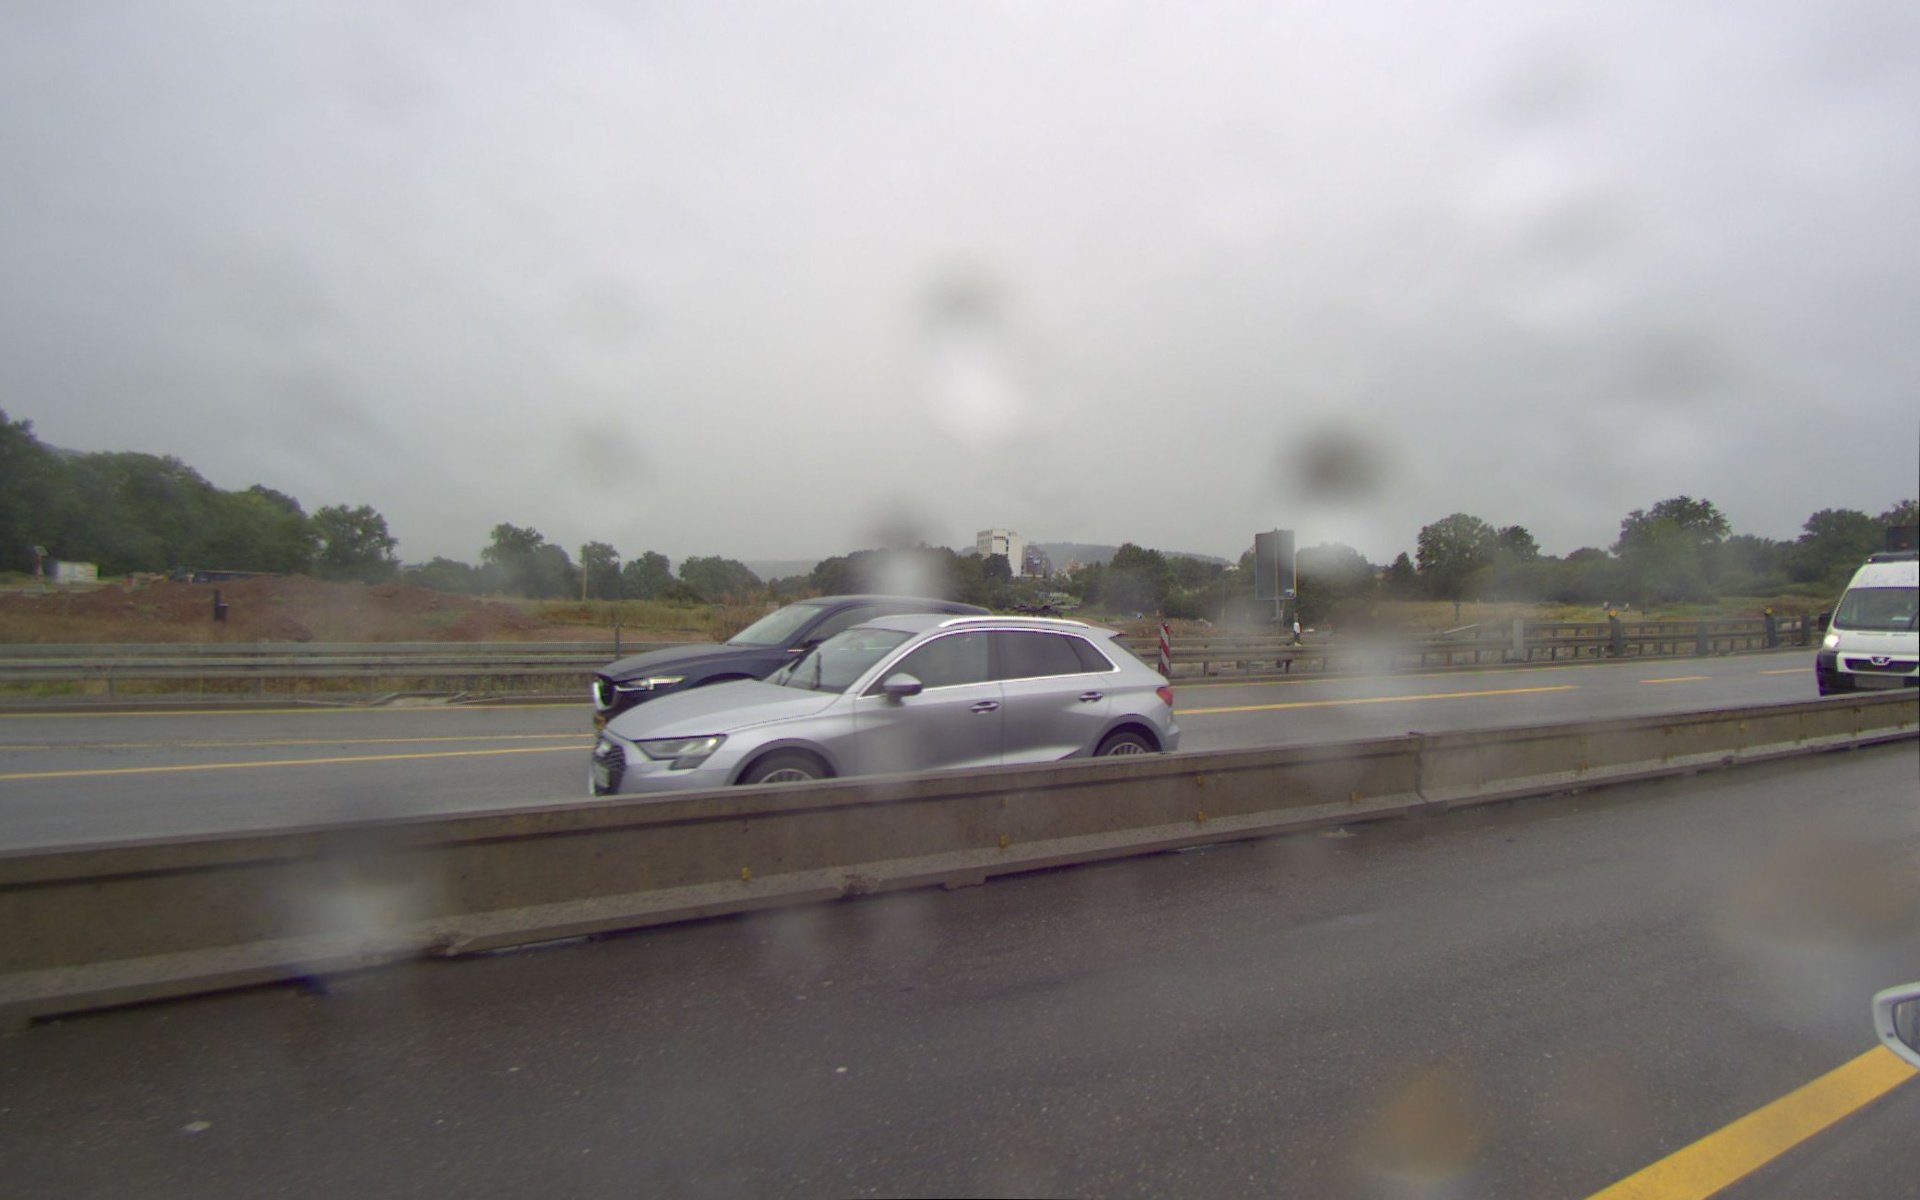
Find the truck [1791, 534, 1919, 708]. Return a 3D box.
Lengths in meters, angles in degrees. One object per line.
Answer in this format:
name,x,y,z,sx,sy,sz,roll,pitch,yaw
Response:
truck,17.370,0.382,17.888,5.948,2.749,2.136,1,0,-32

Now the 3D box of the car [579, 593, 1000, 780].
car,-1.625,0.764,10.155,3.840,1.544,1.713,2,-1,-37

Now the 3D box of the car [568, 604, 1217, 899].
car,-0.344,0.846,7.098,4.295,1.544,1.668,1,-1,-31

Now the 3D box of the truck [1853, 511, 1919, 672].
truck,27.932,-0.192,27.606,9.109,4.023,2.627,0,0,-32
